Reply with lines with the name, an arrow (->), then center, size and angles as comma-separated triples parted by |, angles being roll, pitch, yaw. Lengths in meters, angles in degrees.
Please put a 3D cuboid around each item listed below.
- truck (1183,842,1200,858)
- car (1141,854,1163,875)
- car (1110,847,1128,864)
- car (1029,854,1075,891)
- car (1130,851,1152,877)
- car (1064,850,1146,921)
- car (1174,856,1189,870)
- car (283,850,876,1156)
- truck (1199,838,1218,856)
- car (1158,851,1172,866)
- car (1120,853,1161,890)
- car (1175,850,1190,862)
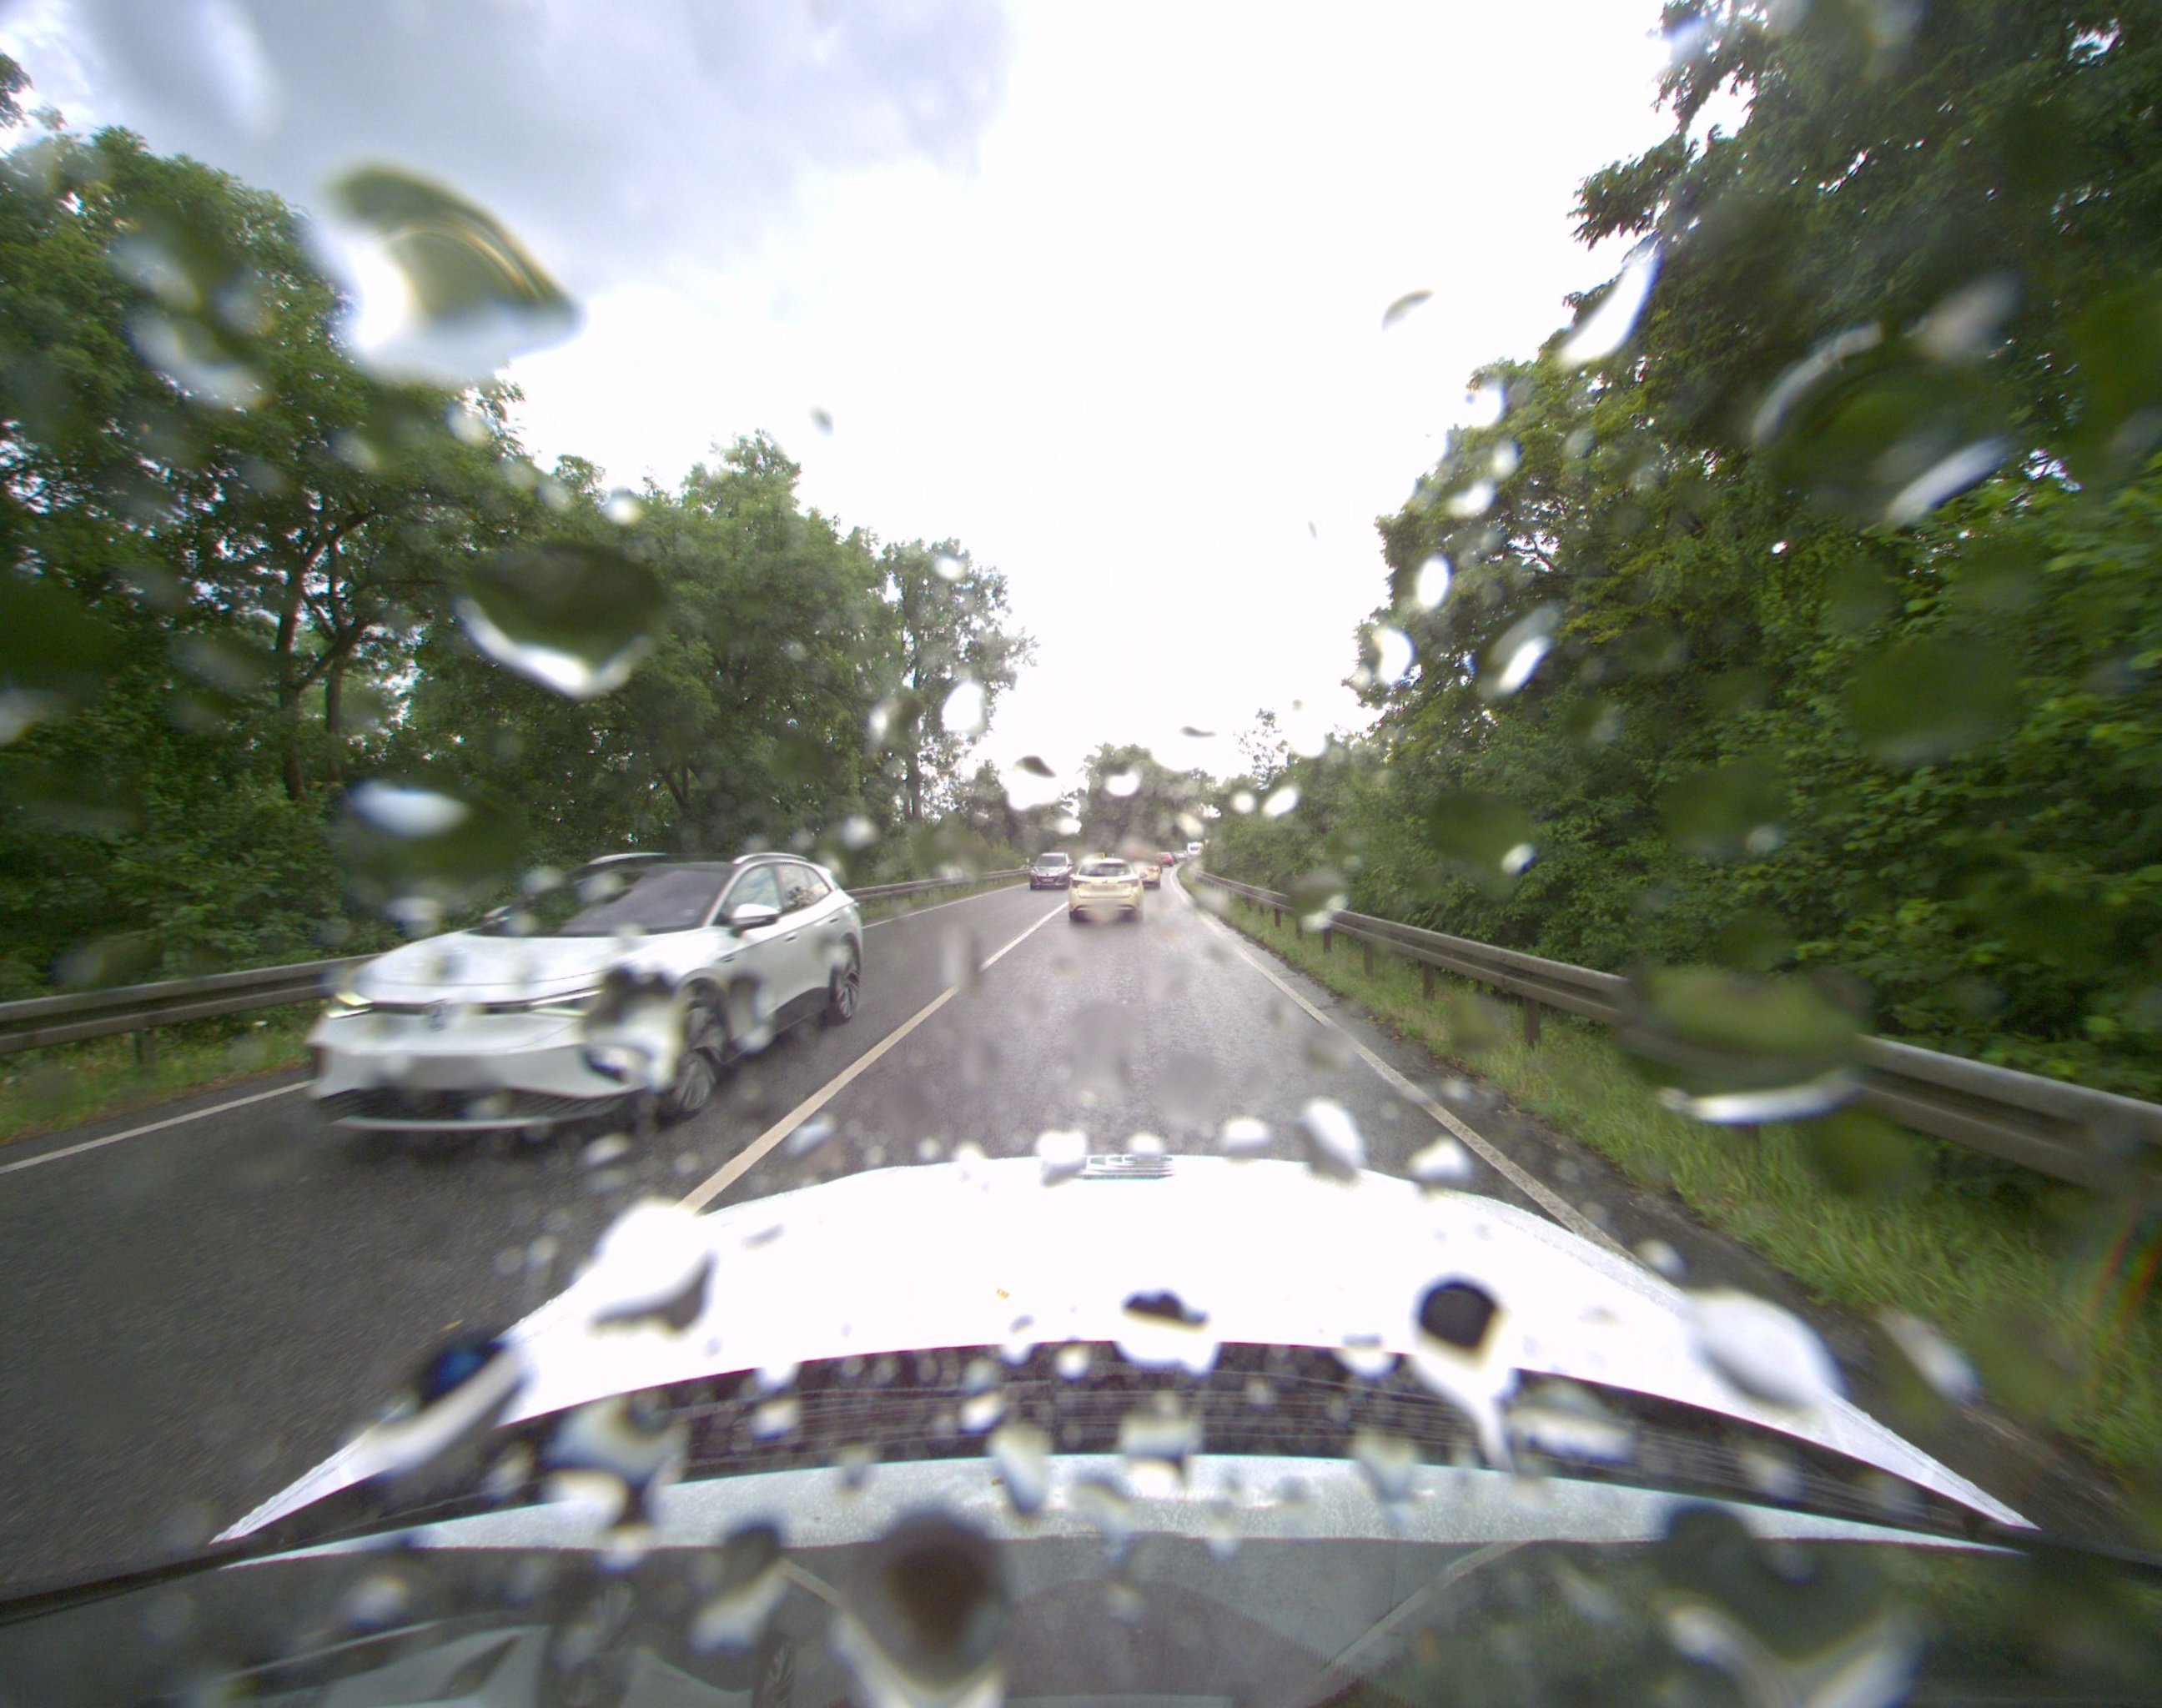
truck -> 19.498, -0.639, 143.612 | 2.537, 2.713, 7.545 | -1, -1, 5
car -> 5.486, 0.833, 63.395 | 1.604, 1.547, 3.817 | -1, -2, 4
car -> 4.742, 0.184, 100.904 | 1.984, 2.014, 4.004 | -1, -1, 4
car -> -1.298, 0.824, 37.649 | 1.685, 1.574, 4.378 | -1, 0, 3
car -> 3.737, 0.656, 50.948 | 1.295, 1.547, 3.262 | -1, -1, 3
car -> 0.679, 0.741, 20.470 | 1.826, 1.580, 4.160 | -1, -1, 4
car -> 11.945, 1.075, 96.688 | 1.607, 1.613, 3.629 | -1, -1, 8
car -> -3.113, 0.769, 6.279 | 1.799, 1.532, 4.209 | -1, 0, 2
truck -> 26.874, -1.372, 171.327 | 3.083, 3.680, 7.030 | -1, -1, 17
car -> 8.596, 0.472, 82.920 | 1.159, 1.547, 2.612 | -1, -1, 11
car -> 2.753, 0.778, 36.943 | 1.659, 1.580, 3.899 | -1, -1, 7
car -> 14.453, 0.300, 115.964 | 1.758, 1.547, 3.826 | -1, -1, 12
